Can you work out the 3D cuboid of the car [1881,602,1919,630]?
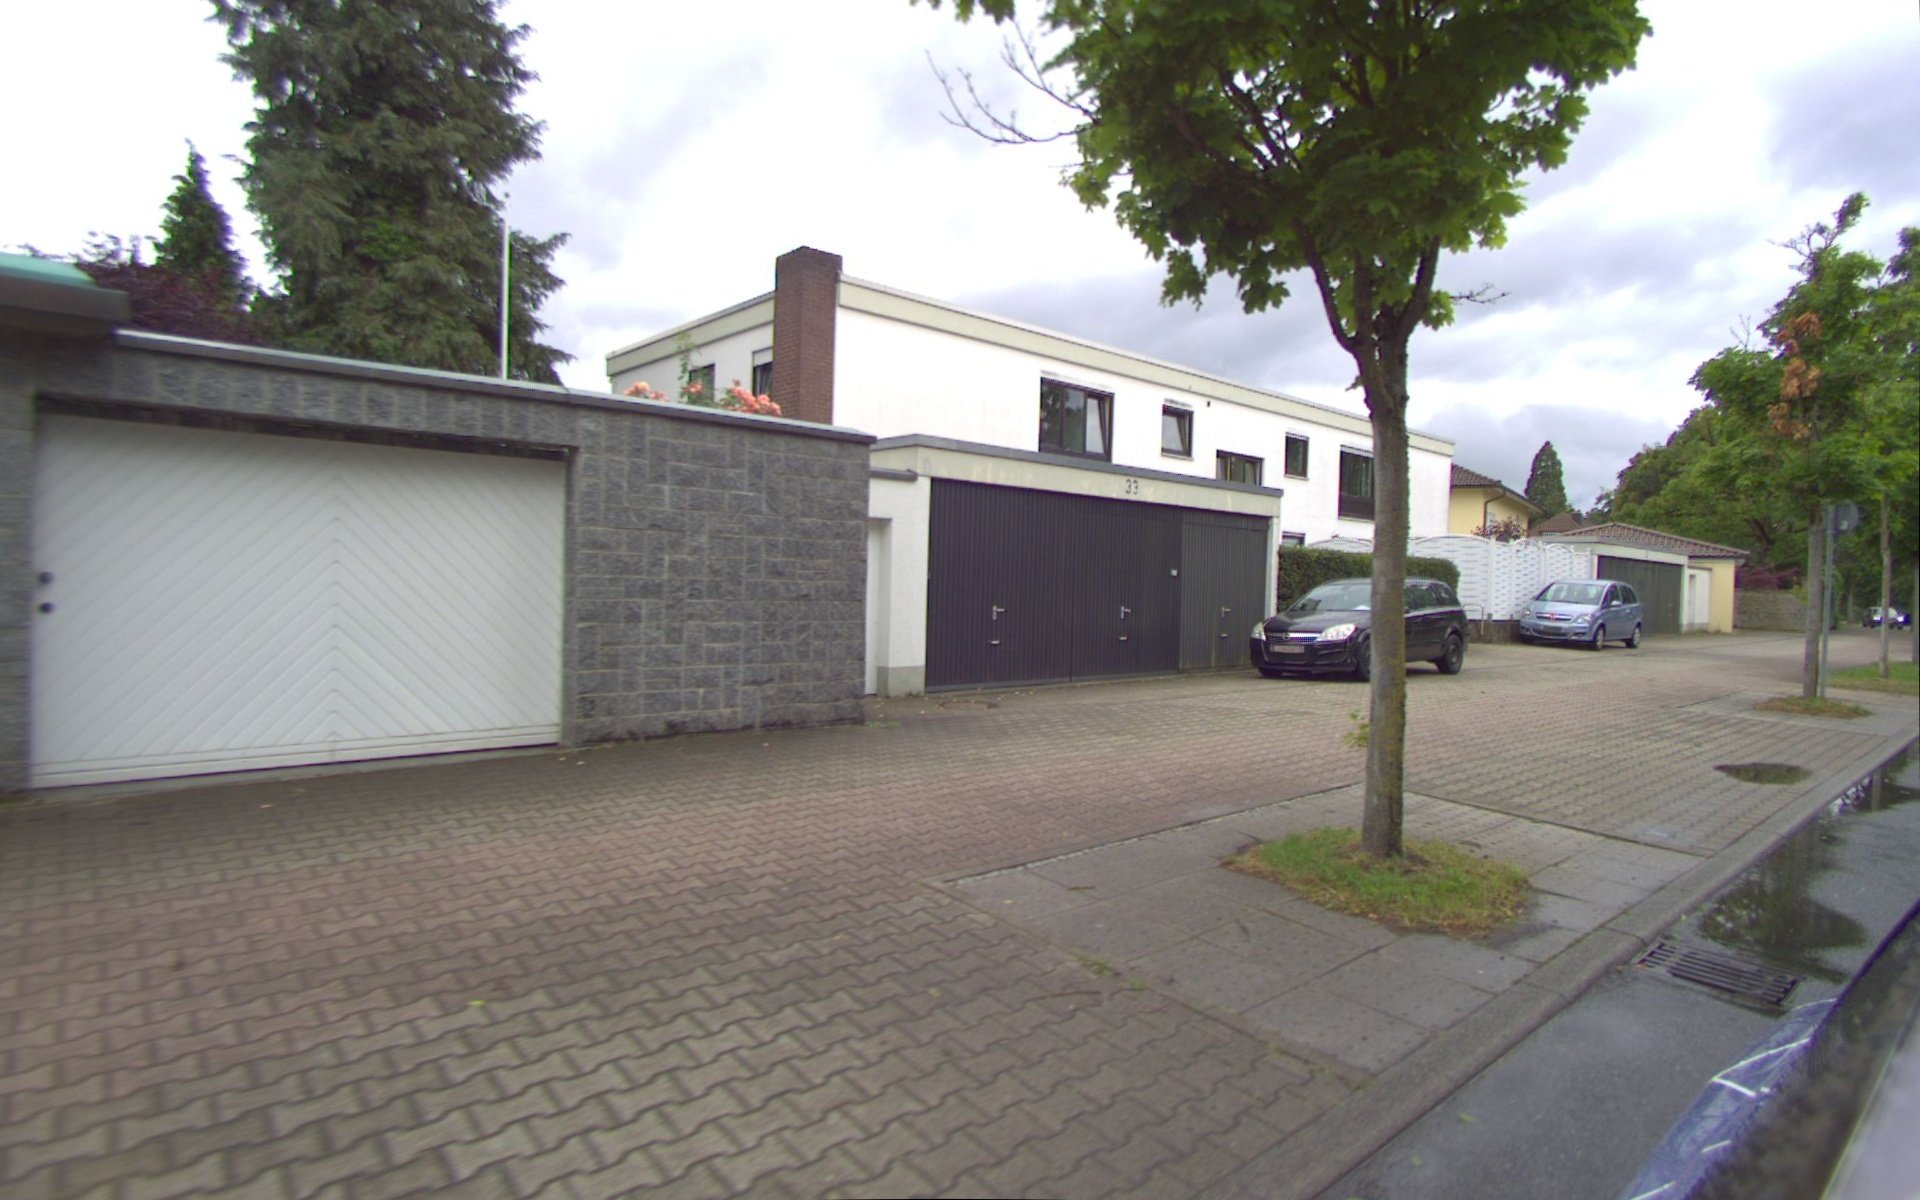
[{"bbox_3d":[70.512,1.164,75.935,1.992,2.039,3.940,0,0,42],"label":"car"}]

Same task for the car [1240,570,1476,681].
[{"bbox_3d":[6.006,0.325,15.080,3.930,1.440,1.665,0,0,-41],"label":"car"}]

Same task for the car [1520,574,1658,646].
[{"bbox_3d":[15.049,0.204,24.144,3.930,1.581,1.698,-1,0,-41],"label":"car"}]
